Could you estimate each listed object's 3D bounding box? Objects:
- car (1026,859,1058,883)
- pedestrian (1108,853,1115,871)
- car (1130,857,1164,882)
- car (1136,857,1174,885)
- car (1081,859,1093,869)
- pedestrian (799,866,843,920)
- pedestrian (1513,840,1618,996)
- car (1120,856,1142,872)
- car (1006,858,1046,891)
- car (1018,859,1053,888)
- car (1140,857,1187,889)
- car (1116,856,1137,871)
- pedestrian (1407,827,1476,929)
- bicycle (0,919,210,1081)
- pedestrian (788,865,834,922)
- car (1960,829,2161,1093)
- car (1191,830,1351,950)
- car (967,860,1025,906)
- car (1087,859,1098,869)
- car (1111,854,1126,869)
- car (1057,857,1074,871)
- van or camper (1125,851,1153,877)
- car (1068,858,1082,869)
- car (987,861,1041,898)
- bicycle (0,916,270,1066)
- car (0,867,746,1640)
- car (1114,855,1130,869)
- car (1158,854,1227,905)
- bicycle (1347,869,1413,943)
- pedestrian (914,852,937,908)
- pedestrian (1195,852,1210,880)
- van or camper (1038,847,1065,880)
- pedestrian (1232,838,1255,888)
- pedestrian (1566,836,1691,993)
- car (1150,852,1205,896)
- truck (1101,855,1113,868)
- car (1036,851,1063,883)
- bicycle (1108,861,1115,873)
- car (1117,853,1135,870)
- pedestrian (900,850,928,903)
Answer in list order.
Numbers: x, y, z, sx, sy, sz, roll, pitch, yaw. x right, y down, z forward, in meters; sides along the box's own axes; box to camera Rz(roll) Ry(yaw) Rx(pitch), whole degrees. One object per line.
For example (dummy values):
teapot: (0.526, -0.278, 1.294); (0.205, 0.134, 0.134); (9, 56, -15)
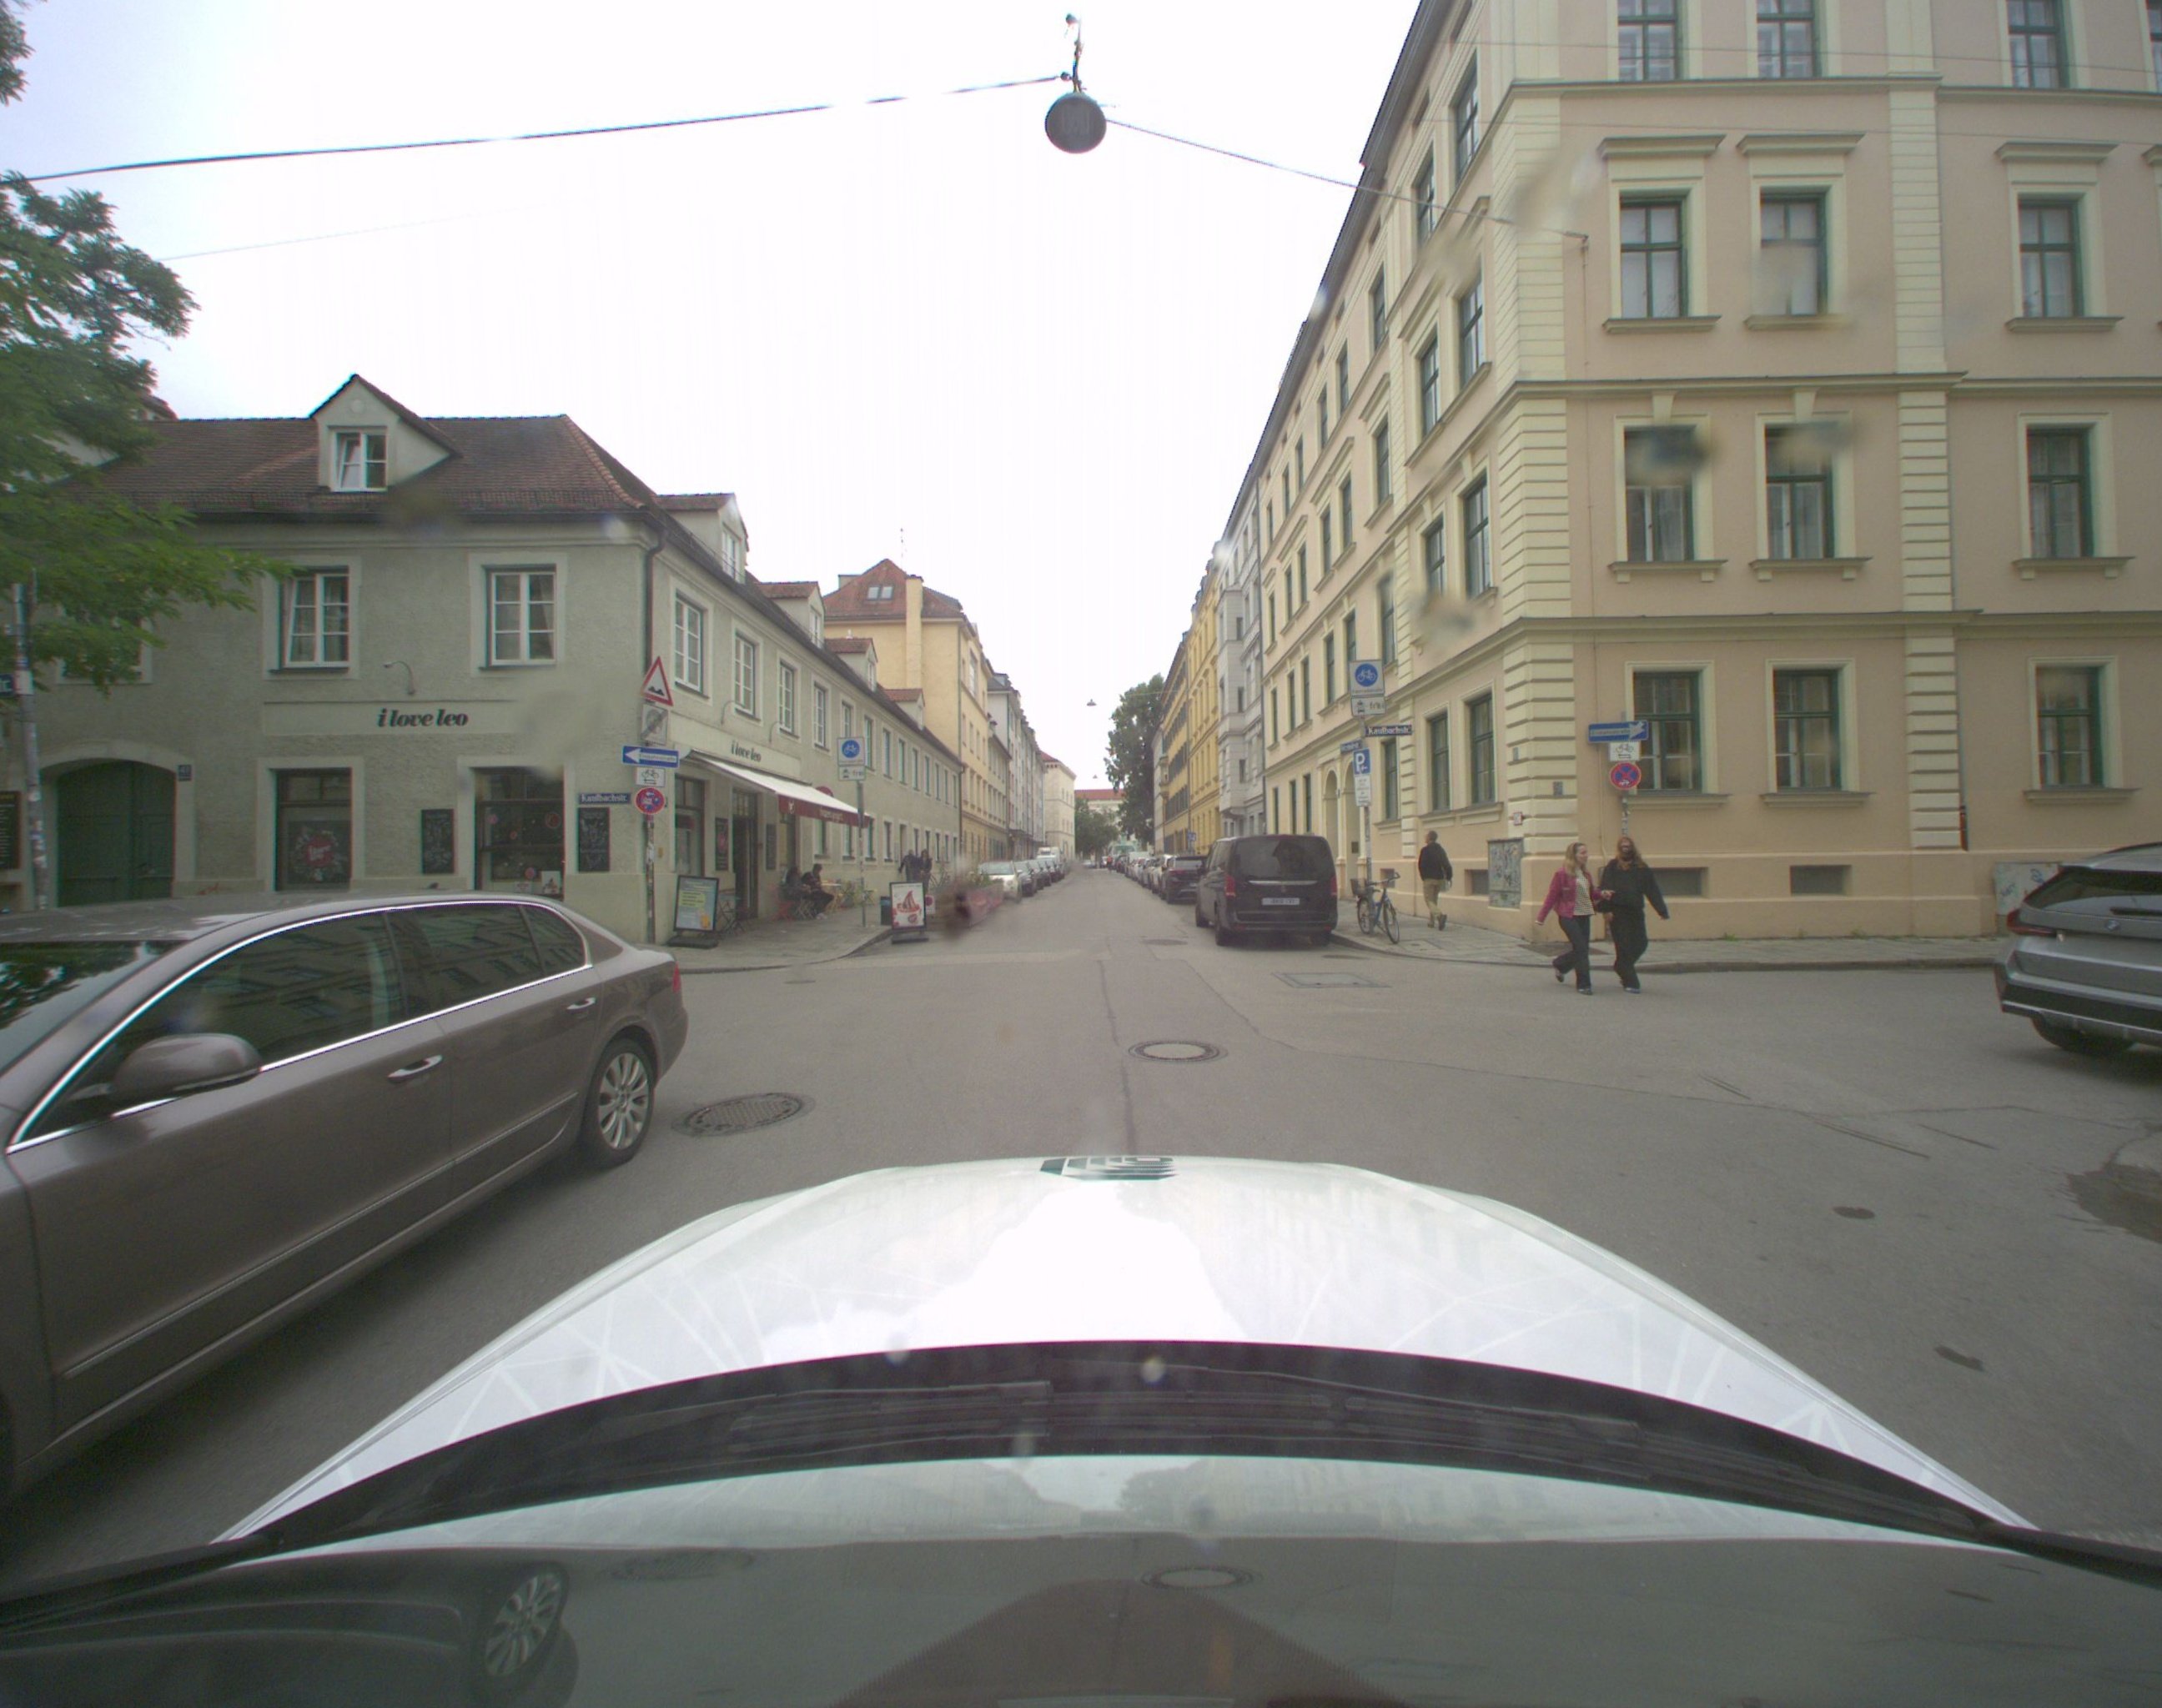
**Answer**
car: (-2.343, 1.028, 49.935); (1.749, 1.409, 4.102); (-1, -1, 0)
pedestrian: (2.948, 0.805, 78.622); (0.639, 1.714, 0.843); (-2, -2, 2)
car: (4.051, 0.952, 50.712); (1.703, 1.454, 4.094); (-1, -1, -1)
car: (3.935, 0.909, 44.023); (1.702, 1.408, 4.815); (-1, -1, 1)
car: (1.012, 1.607, 136.546); (1.699, 1.581, 3.866); (-2, -1, 4)
pedestrian: (-6.334, 0.944, 19.857); (0.800, 1.290, 0.693); (-2, -2, 1)
pedestrian: (5.365, 0.682, 9.080); (0.470, 1.625, 1.069); (-2, -2, 0)
car: (4.605, 0.897, 75.045); (1.805, 1.465, 4.247); (0, -1, 1)
car: (-2.633, 0.980, 39.733); (1.750, 1.496, 4.197); (-1, -1, -2)
car: (-2.488, 1.040, 45.024); (1.812, 1.441, 4.127); (-2, 0, -3)
car: (3.854, 0.872, 38.531); (1.703, 1.404, 4.205); (-1, -1, -1)
car: (4.474, 0.966, 80.329); (1.806, 1.425, 4.245); (0, -1, -1)
pedestrian: (6.372, 0.426, 14.437); (0.716, 1.717, 1.003); (-2, -2, 0)
bicycle: (-7.208, 1.001, 5.735); (1.810, 1.035, 0.392); (1, 0, 3)
pedestrian: (-6.339, 0.928, 19.133); (0.800, 1.290, 0.693); (-2, -2, 1)
car: (8.762, 0.619, 5.392); (4.076, 1.605, 1.754); (-2, 1, -1)
car: (3.337, 0.574, 15.408); (1.989, 1.864, 5.256); (-1, 0, 2)
car: (-2.940, 0.963, 28.685); (1.750, 1.475, 3.711); (-1, 0, -2)
car: (1.982, 1.744, 142.673); (1.699, 1.581, 3.866); (-2, -1, 4)
car: (4.924, 0.962, 107.122); (1.845, 1.919, 4.770); (-2, -1, 2)
car: (-1.780, 1.166, 94.450); (1.701, 1.609, 3.862); (-2, -1, 0)
van or camper: (4.242, 0.725, 60.519); (1.827, 1.872, 5.080); (-1, 0, 1)
car: (-0.895, 1.445, 121.922); (1.699, 1.609, 3.866); (-2, -1, 3)
car: (-2.708, 1.006, 33.728); (1.792, 1.339, 4.685); (-1, 0, 0)
bicycle: (-7.182, 1.011, 6.139); (1.810, 1.035, 0.392); (1, 0, 3)
car: (-3.031, 0.854, 2.914); (1.674, 1.471, 4.947); (-3, 0, -2)
car: (5.083, 1.030, 101.433); (1.805, 1.614, 4.157); (-2, -1, 2)
car: (3.587, 0.787, 26.804); (1.748, 1.521, 4.275); (-1, -1, 1)
bicycle: (4.995, 0.833, 13.697); (0.463, 1.052, 1.730); (-3, 2, 2)
pedestrian: (-5.077, 0.853, 26.669); (0.526, 1.782, 0.877); (-2, -2, 1)
pedestrian: (7.172, 0.699, 47.996); (0.658, 1.571, 0.642); (-4, -2, 0)
van or camper: (-2.168, 0.692, 60.299); (1.749, 2.281, 5.272); (-1, -1, 0)
pedestrian: (6.552, 0.365, 32.870); (0.667, 1.980, 0.709); (-5, -2, 1)
pedestrian: (6.033, 0.645, 9.036); (0.656, 1.620, 0.979); (-2, -2, 0)
car: (3.737, 0.759, 32.172); (1.737, 1.583, 4.467); (-1, -1, 1)
truck: (4.807, 1.410, 149.327); (2.113, 2.247, 6.187); (-2, -1, 1)
car: (-2.156, 0.871, 54.873); (1.751, 1.995, 4.620); (-1, -1, -3)
bicycle: (2.952, 1.252, 78.573); (0.673, 1.095, 1.760); (-2, -2, 2)
car: (4.828, 0.811, 87.330); (1.805, 1.797, 4.248); (0, -1, 2)
pedestrian: (-6.126, 0.825, 29.857); (0.820, 1.898, 0.827); (-2, -2, 0)
